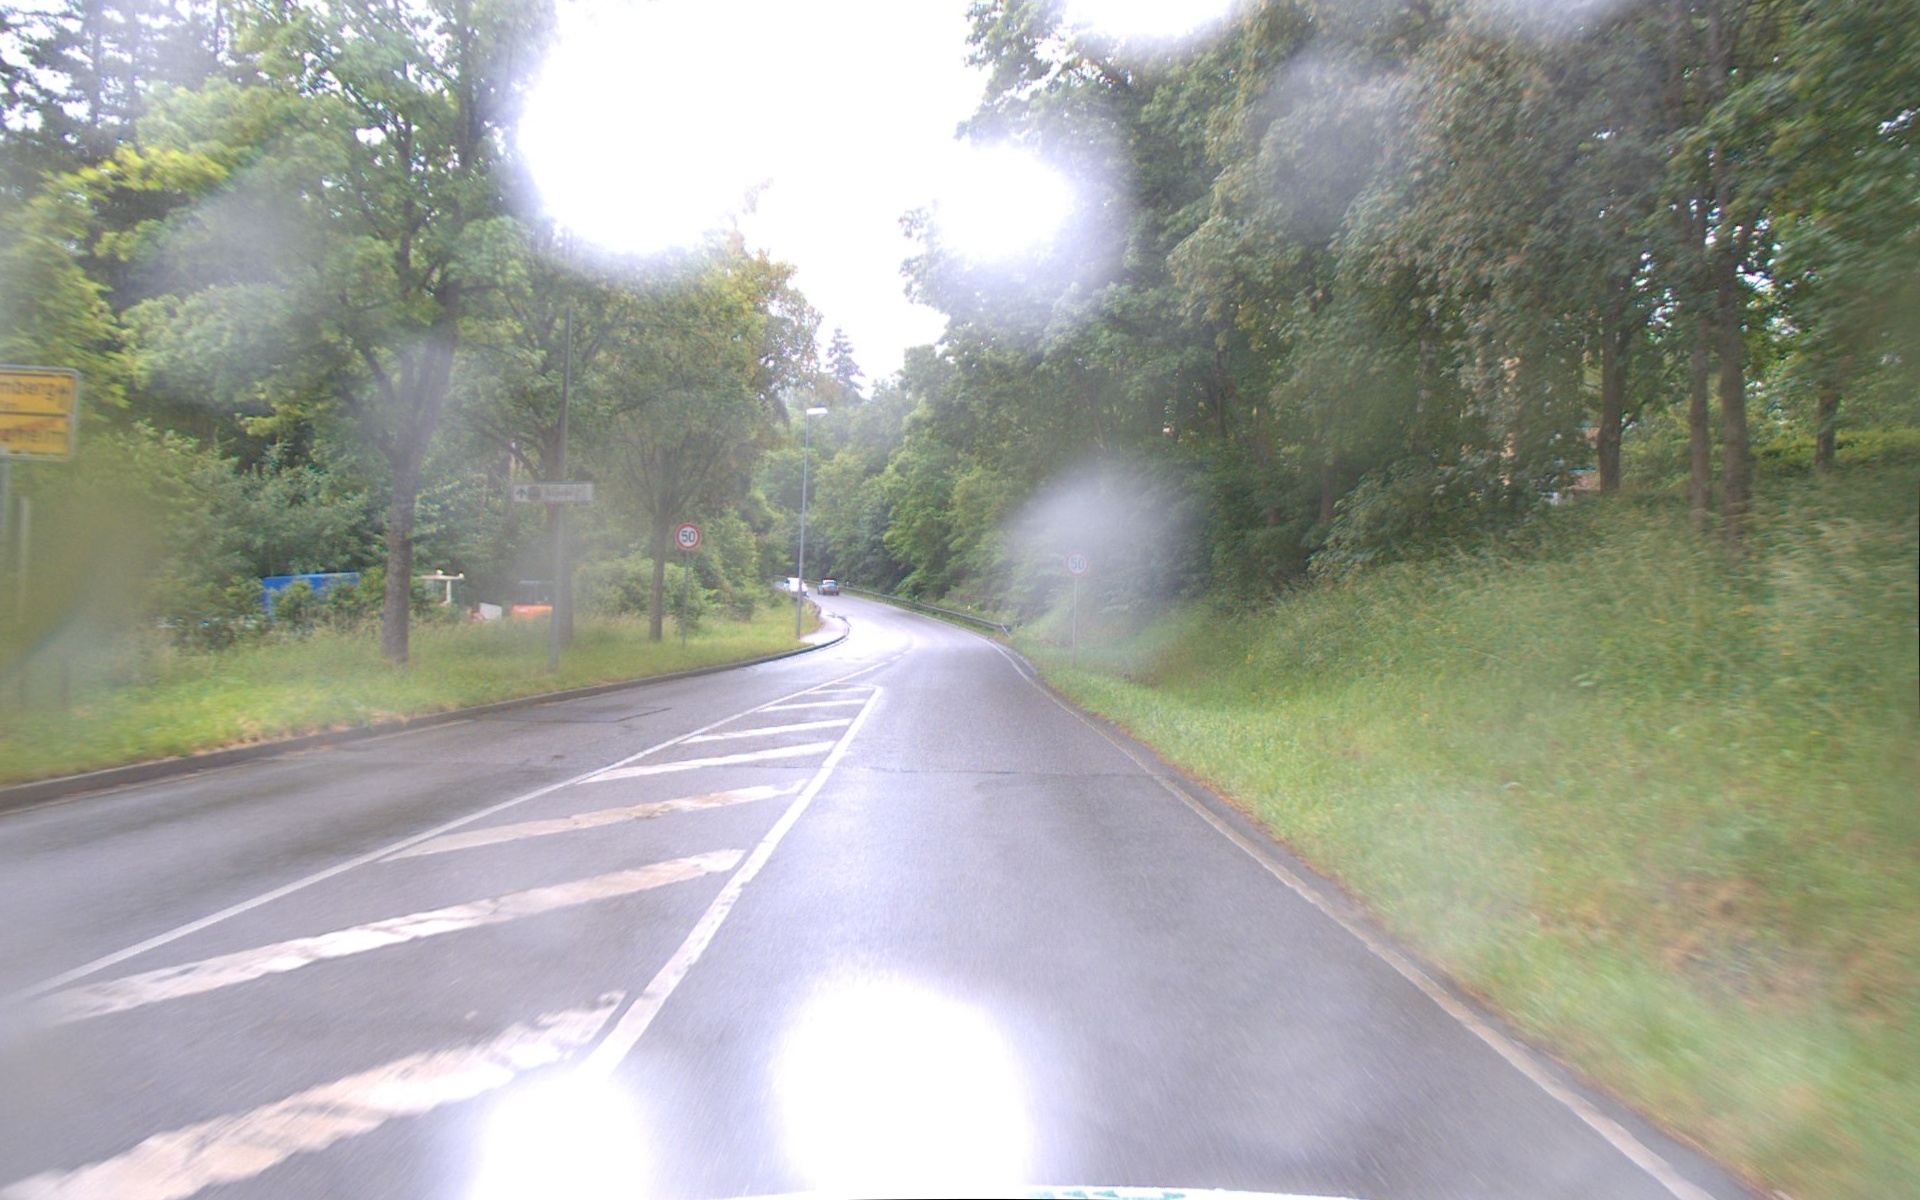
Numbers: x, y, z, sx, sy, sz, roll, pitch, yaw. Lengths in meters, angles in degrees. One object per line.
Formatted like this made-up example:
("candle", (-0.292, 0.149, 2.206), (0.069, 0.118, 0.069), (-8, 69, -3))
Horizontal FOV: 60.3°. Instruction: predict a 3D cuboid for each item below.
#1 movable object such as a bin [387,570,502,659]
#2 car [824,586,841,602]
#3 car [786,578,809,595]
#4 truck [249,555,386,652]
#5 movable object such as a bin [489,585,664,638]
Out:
("movable object such as a bin", (-17.905, 0.520, 57.669), (1.951, 2.911, 4.003), (2, -1, 14))
("car", (-13.124, -0.627, 170.289), (1.702, 1.537, 3.998), (0, 0, -3))
("car", (-16.538, -1.353, 167.789), (1.783, 1.677, 4.117), (0, 0, -13))
("truck", (-17.897, 0.062, 46.372), (1.954, 2.501, 5.219), (2, 0, -3))
("movable object such as a bin", (-14.828, 0.482, 64.675), (1.812, 1.941, 7.893), (1, 0, 29))
